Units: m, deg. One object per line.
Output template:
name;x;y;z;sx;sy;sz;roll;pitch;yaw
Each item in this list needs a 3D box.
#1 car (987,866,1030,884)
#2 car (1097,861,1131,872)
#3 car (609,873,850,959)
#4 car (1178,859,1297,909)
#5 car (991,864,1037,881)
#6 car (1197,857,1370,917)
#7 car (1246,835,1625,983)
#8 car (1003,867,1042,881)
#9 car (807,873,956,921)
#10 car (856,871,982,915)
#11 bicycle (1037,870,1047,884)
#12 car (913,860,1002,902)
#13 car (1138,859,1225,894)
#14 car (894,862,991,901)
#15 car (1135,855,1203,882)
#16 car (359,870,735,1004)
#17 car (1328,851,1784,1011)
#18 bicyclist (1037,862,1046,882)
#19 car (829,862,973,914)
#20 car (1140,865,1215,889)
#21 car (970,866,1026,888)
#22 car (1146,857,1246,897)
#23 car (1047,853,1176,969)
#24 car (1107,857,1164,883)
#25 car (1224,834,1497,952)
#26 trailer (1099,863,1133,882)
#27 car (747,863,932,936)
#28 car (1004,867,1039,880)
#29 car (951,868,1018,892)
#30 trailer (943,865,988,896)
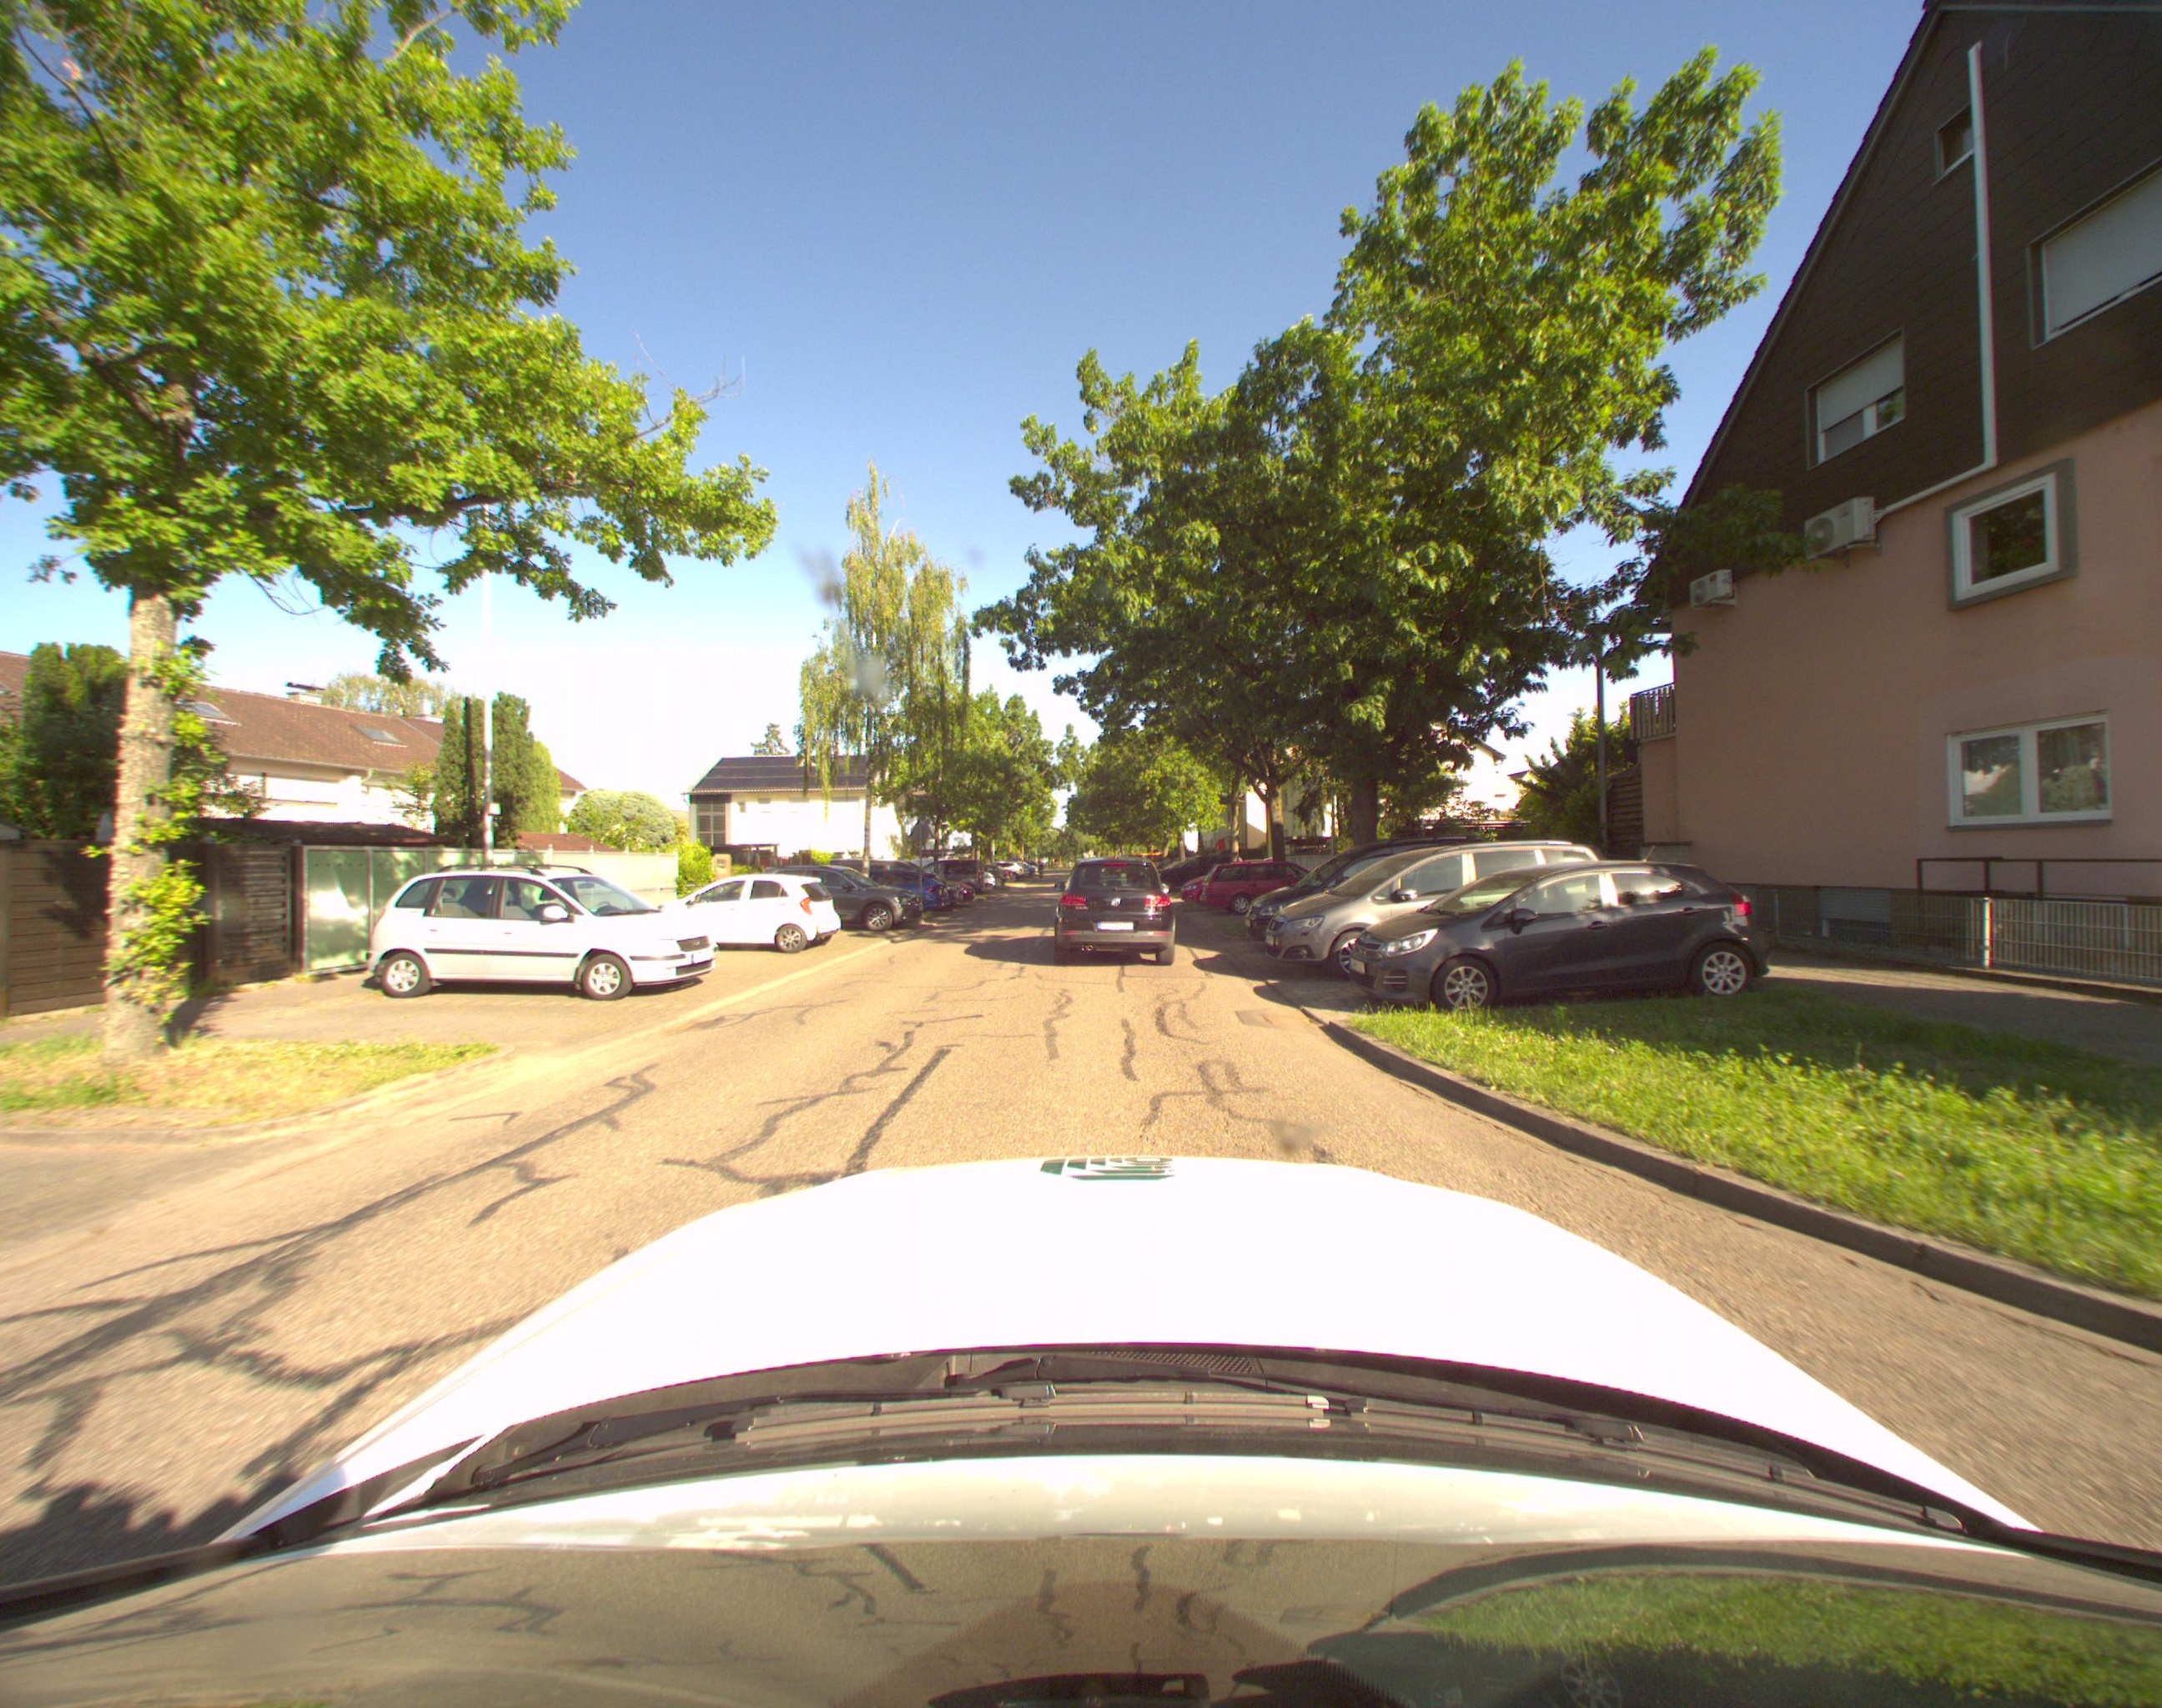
car;-7.002;2.019;78.601;3.975;1.595;1.856;-1;-1;-1
car;4.434;1.656;109.144;4.335;1.363;1.871;-2;-1;-3
car;-6.904;1.199;16.282;3.986;1.515;1.796;-1;-1;2
car;5.391;1.029;28.324;3.764;1.484;1.755;-3;-2;1
car;-6.867;1.884;83.540;4.511;1.631;1.936;-1;-1;-1
car;5.748;0.942;23.539;4.487;1.446;1.838;-3;-2;1
car;4.797;0.717;11.492;4.491;1.679;1.878;-3;-1;-2
car;-6.452;2.229;90.086;4.170;1.492;1.646;-1;-1;-2
car;-6.239;1.347;25.753;4.254;1.424;1.724;0;-1;2
car;-6.113;1.466;31.201;4.466;1.500;1.834;-2;-1;-3
bicycle;-3.250;1.911;68.095;0.594;1.058;1.986;-4;-1;1
car;-6.166;1.345;41.090;4.227;1.944;1.997;-2;-2;-3
car;5.241;1.169;42.842;4.307;1.529;1.840;-3;0;-1
car;-6.458;1.264;38.354;4.229;1.770;1.965;0;-1;-3
car;5.904;0.992;55.223;4.326;1.560;1.866;-3;-1;-2
car;-6.985;1.037;10.941;3.923;1.614;1.707;0;0;2
car;4.927;0.776;8.858;3.932;1.361;1.683;-3;-2;0
bicyclist;-3.282;1.508;68.066;0.594;1.674;0.975;-4;-1;1
car;-6.272;1.166;28.688;4.659;1.768;1.794;0;0;-1
car;5.894;1.379;49.960;4.413;1.331;1.690;-1;-1;0
car;-6.460;1.801;63.805;4.173;1.567;1.792;-1;-1;0
car;5.553;1.101;39.794;4.560;1.646;1.837;-3;-1;-1
car;0.477;0.848;13.656;1.831;1.636;3.958;-1;-1;1
car;4.719;1.392;71.345;4.805;2.083;2.085;-1;-1;-1
car;4.874;0.678;14.604;4.200;1.782;1.788;-3;-2;-2
trailer;3.284;1.705;75.955;2.943;1.664;1.611;-1;-1;-7
car;-6.169;1.149;21.085;4.194;1.724;1.761;-1;-1;2
car;-7.278;2.402;99.916;4.264;1.478;1.767;-1;-1;-2
car;-6.284;1.671;53.361;4.198;1.471;1.690;-1;-1;-1
trailer;-6.528;1.470;46.098;2.226;1.673;1.476;-2;0;3
